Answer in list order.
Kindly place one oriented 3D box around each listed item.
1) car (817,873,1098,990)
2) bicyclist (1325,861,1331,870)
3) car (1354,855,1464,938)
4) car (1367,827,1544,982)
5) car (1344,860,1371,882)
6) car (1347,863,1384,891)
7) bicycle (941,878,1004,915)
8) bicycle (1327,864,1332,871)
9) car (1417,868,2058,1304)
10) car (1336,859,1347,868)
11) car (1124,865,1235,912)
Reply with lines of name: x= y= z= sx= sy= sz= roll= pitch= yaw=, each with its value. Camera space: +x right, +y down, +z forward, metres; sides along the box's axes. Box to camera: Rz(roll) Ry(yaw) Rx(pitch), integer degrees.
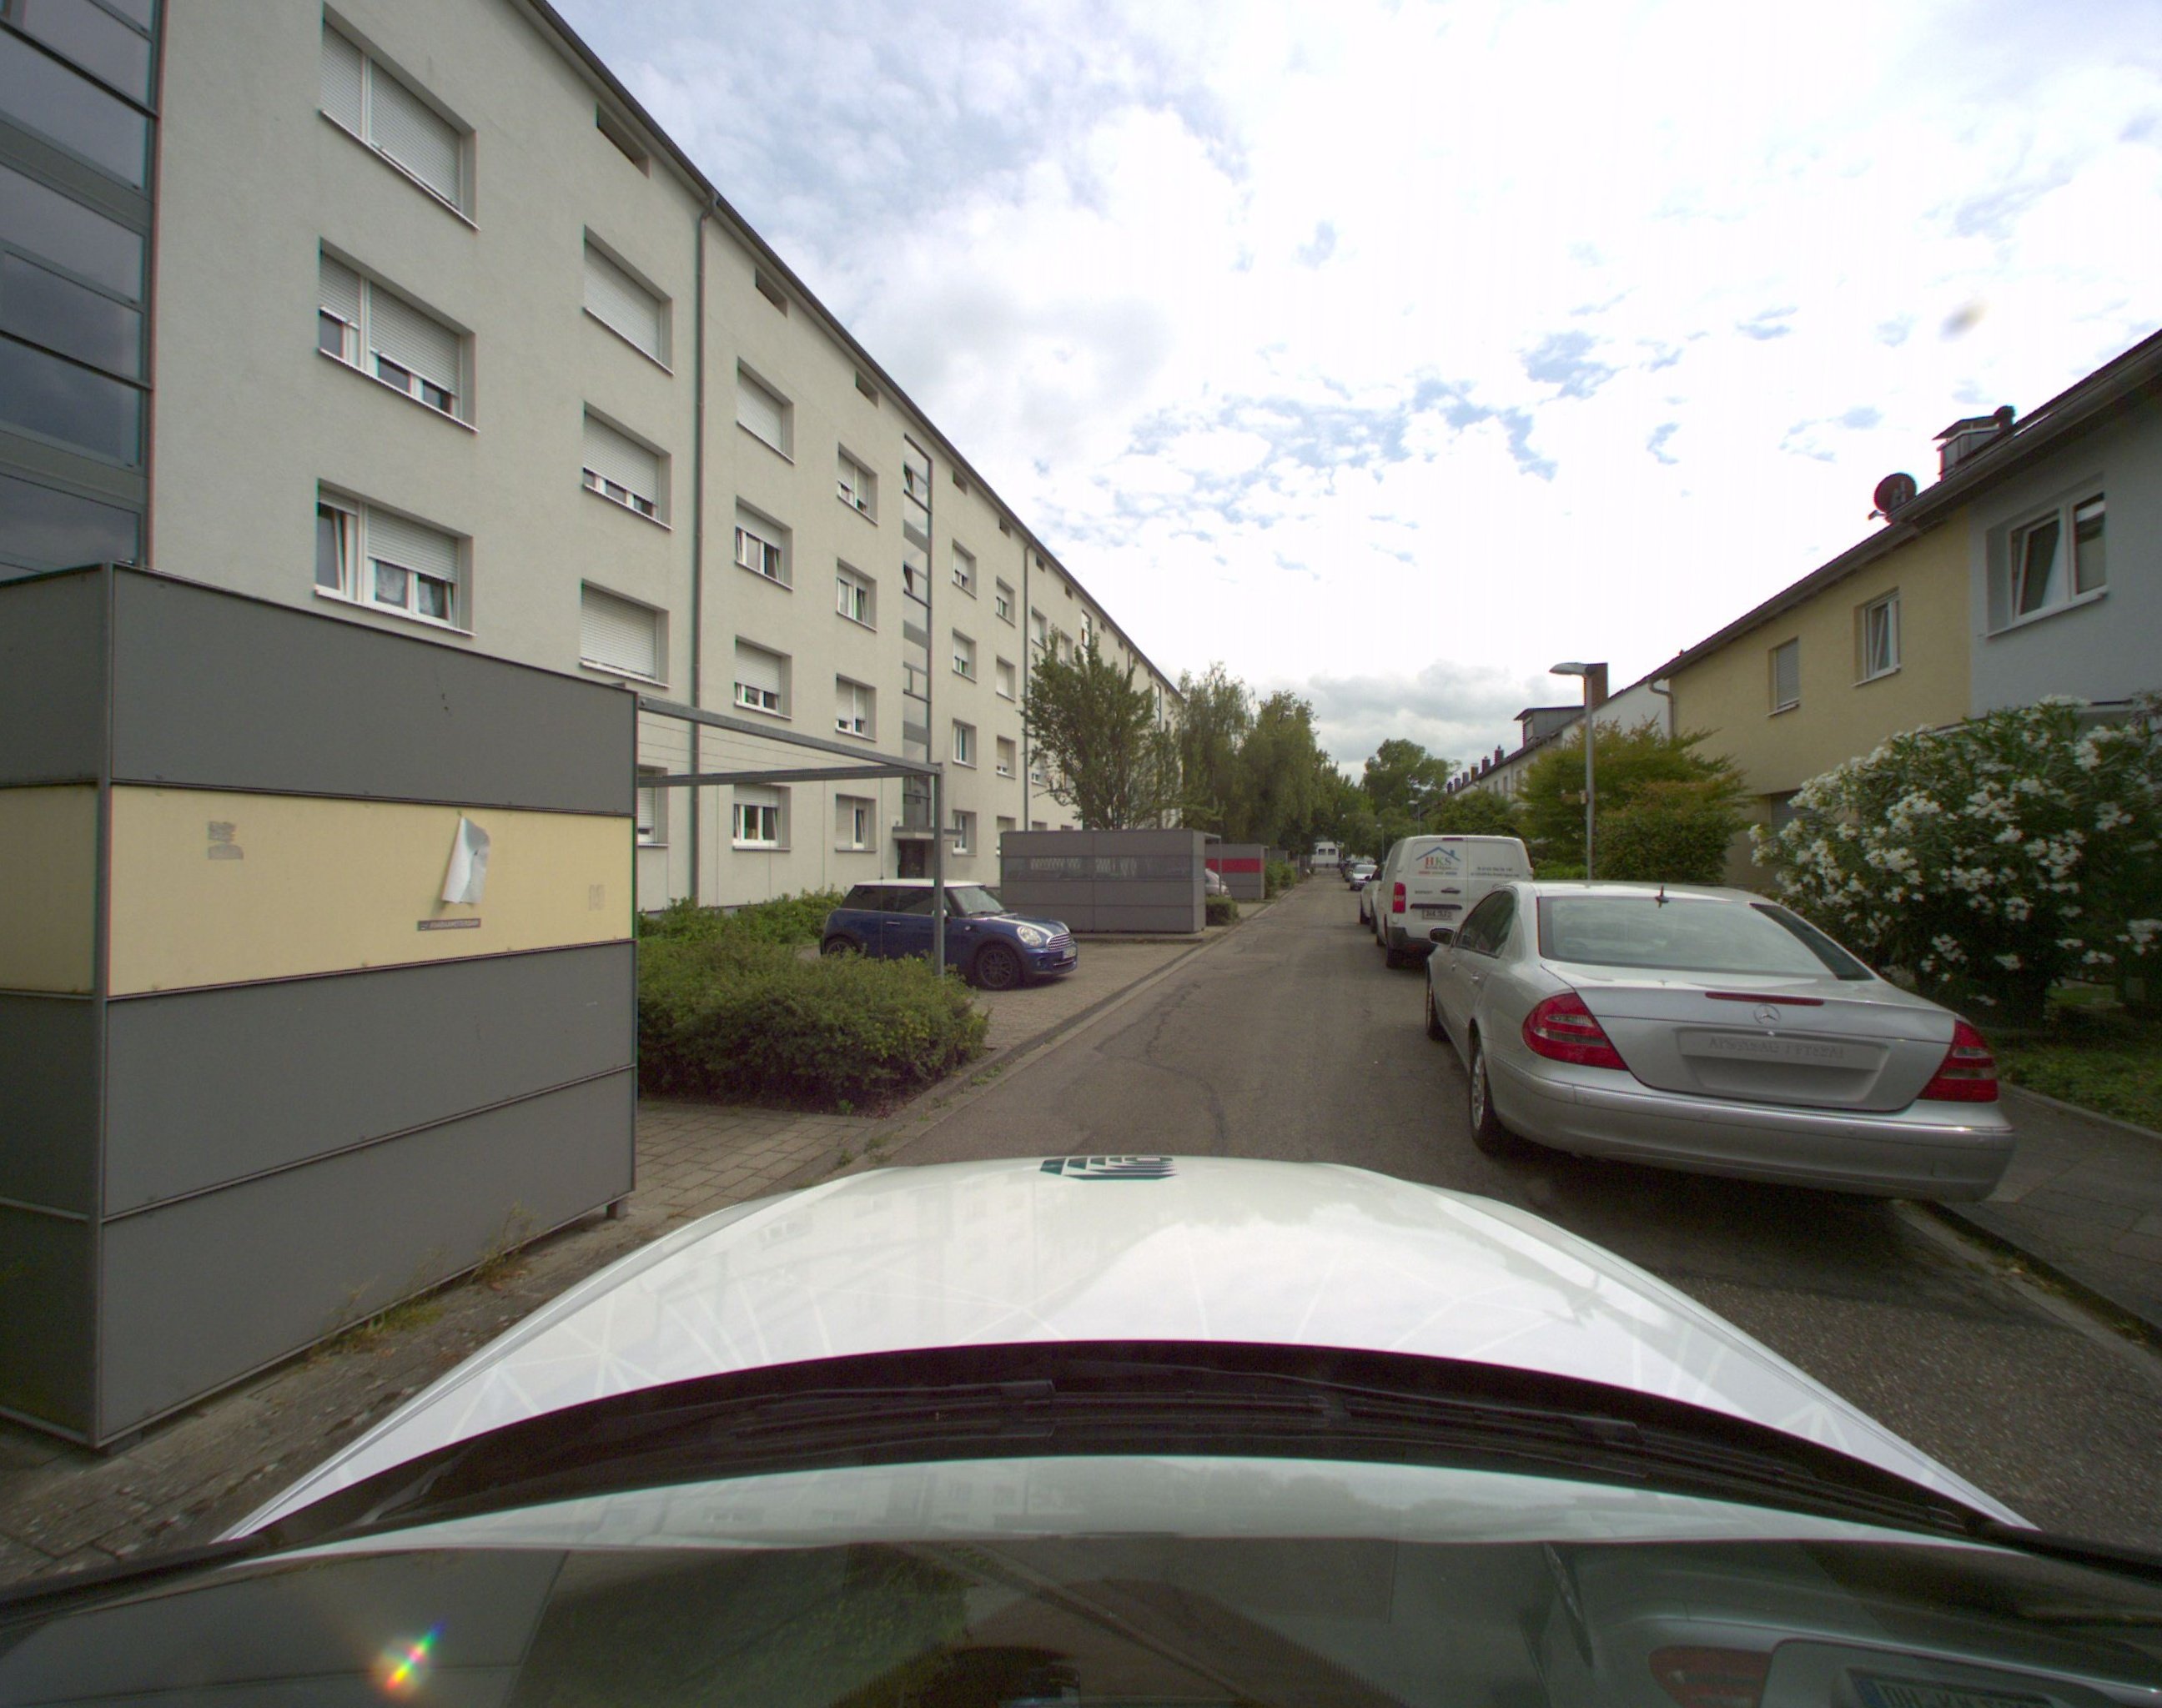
car: x=-1.747 y=1.037 z=11.669 sx=3.604 sy=1.461 sz=1.661 roll=-2 pitch=-1 yaw=21
bicyclist: x=43.921 y=2.042 z=144.827 sx=0.792 sy=1.511 sz=0.938 roll=1 pitch=-1 yaw=19
car: x=7.363 y=0.873 z=18.663 sx=1.811 sy=1.635 sz=4.178 roll=1 pitch=0 yaw=15
car: x=5.753 y=0.661 z=13.172 sx=1.889 sy=1.964 sz=5.276 roll=1 pitch=0 yaw=17
car: x=21.304 y=1.278 z=62.885 sx=1.811 sy=1.581 sz=4.017 roll=1 pitch=0 yaw=16
car: x=15.626 y=1.241 z=44.957 sx=1.810 sy=1.370 sz=4.350 roll=1 pitch=0 yaw=18
bicycle: x=-3.216 y=1.255 z=24.203 sx=1.813 sy=1.024 sz=0.475 roll=0 pitch=-1 yaw=-24
bicycle: x=44.223 y=2.361 z=144.715 sx=0.683 sy=1.131 sz=2.591 roll=1 pitch=0 yaw=20
car: x=3.240 y=0.836 z=5.188 sx=1.769 sy=1.421 sz=4.476 roll=1 pitch=0 yaw=19
car: x=50.231 y=1.843 z=156.997 sx=1.810 sy=1.581 sz=4.018 roll=1 pitch=0 yaw=18
car: x=3.381 y=1.164 z=27.781 sx=3.537 sy=1.481 sz=1.716 roll=-2 pitch=-1 yaw=13
